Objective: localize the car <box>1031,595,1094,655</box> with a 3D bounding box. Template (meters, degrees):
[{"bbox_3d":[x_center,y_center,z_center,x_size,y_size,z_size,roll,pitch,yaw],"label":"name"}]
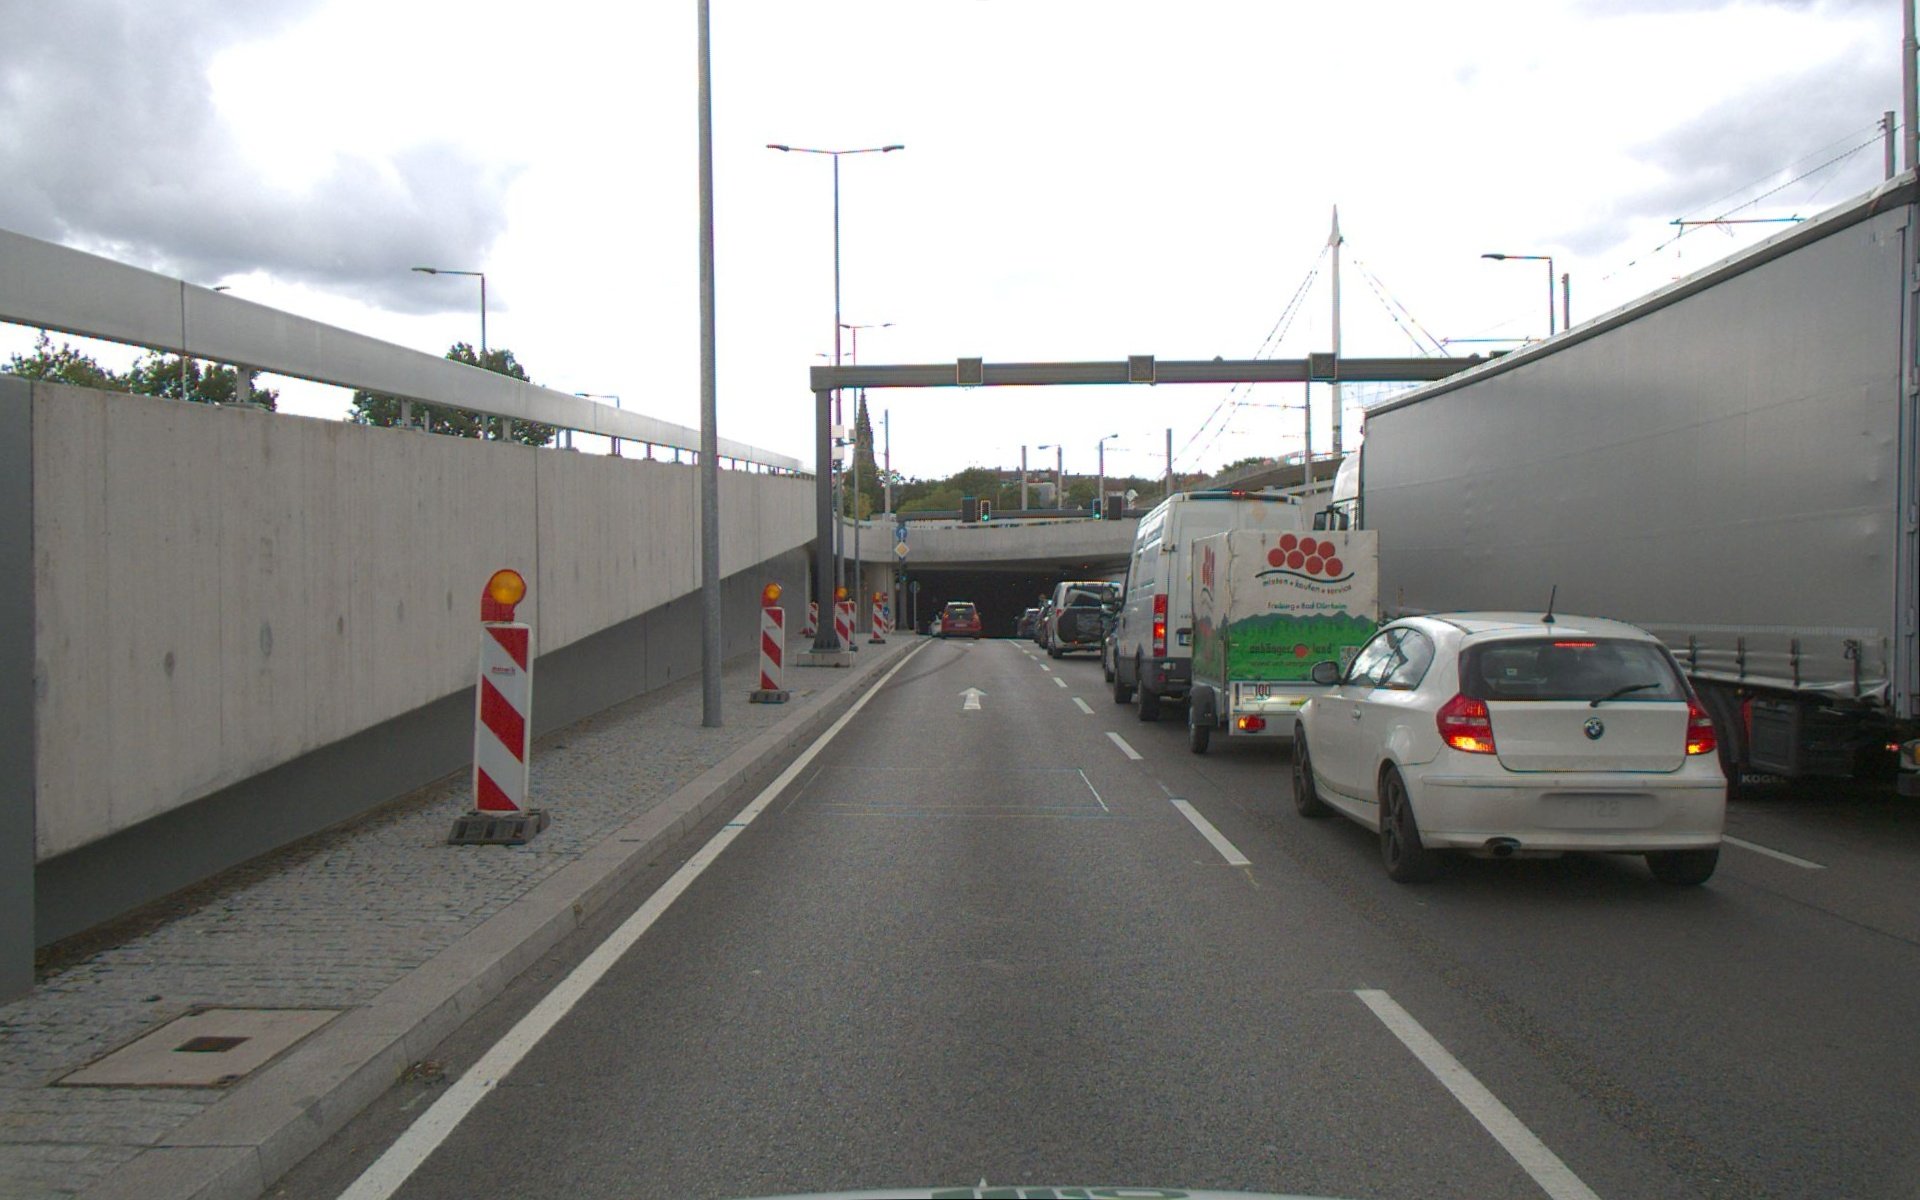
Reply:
[{"bbox_3d":[3.168,0.747,51.815,1.781,1.713,4.001,1,1,1],"label":"car"}]

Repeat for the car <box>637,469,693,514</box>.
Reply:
[{"bbox_3d":[-11.631,-4.266,65.418,1.709,1.457,3.773,3,0,-4],"label":"car"}]

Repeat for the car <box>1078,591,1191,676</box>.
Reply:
[{"bbox_3d":[3.508,0.634,33.788,1.649,1.571,3.690,1,1,-4],"label":"car"}]

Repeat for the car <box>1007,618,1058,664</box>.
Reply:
[{"bbox_3d":[2.733,1.542,63.396,1.781,1.608,4.000,3,0,1],"label":"car"}]

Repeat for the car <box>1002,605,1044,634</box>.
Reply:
[{"bbox_3d":[2.848,0.922,75.872,1.630,1.269,3.565,0,-1,-3],"label":"car"}]

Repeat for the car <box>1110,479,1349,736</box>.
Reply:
[{"bbox_3d":[3.191,0.093,20.882,2.016,2.673,5.943,3,0,1],"label":"car"}]

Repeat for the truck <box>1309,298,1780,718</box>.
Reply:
[{"bbox_3d":[7.459,-1.077,22.583,3.727,4.712,7.442,1,0,0],"label":"truck"}]

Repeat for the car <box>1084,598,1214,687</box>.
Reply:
[{"bbox_3d":[3.207,0.700,28.699,1.727,1.407,4.038,-1,0,-1],"label":"car"}]

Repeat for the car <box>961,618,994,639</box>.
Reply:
[{"bbox_3d":[1.247,2.035,119.327,1.955,1.411,3.996,0,1,-5],"label":"car"}]

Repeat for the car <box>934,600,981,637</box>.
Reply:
[{"bbox_3d":[-0.119,0.810,70.127,1.628,1.514,3.562,0,-1,-6],"label":"car"}]

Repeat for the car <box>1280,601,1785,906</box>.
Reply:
[{"bbox_3d":[3.214,0.748,10.245,1.681,1.422,4.348,2,0,1],"label":"car"}]

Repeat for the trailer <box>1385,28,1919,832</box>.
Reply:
[{"bbox_3d":[7.471,-1.020,15.602,3.727,4.712,12.114,1,0,0],"label":"trailer"}]

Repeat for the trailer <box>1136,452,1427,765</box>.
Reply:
[{"bbox_3d":[3.138,0.087,17.236,2.060,2.685,4.810,3,0,1],"label":"trailer"}]

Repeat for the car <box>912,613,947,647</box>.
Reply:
[{"bbox_3d":[-1.940,1.862,104.584,1.955,2.049,3.996,0,0,-5],"label":"car"}]

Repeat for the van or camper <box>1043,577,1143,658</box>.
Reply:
[{"bbox_3d":[3.239,0.400,41.283,1.953,1.877,5.507,1,0,-1],"label":"van or camper"}]

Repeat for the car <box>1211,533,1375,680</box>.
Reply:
[{"bbox_3d":[6.996,0.081,35.608,2.033,2.821,7.326,0,1,0],"label":"car"}]
